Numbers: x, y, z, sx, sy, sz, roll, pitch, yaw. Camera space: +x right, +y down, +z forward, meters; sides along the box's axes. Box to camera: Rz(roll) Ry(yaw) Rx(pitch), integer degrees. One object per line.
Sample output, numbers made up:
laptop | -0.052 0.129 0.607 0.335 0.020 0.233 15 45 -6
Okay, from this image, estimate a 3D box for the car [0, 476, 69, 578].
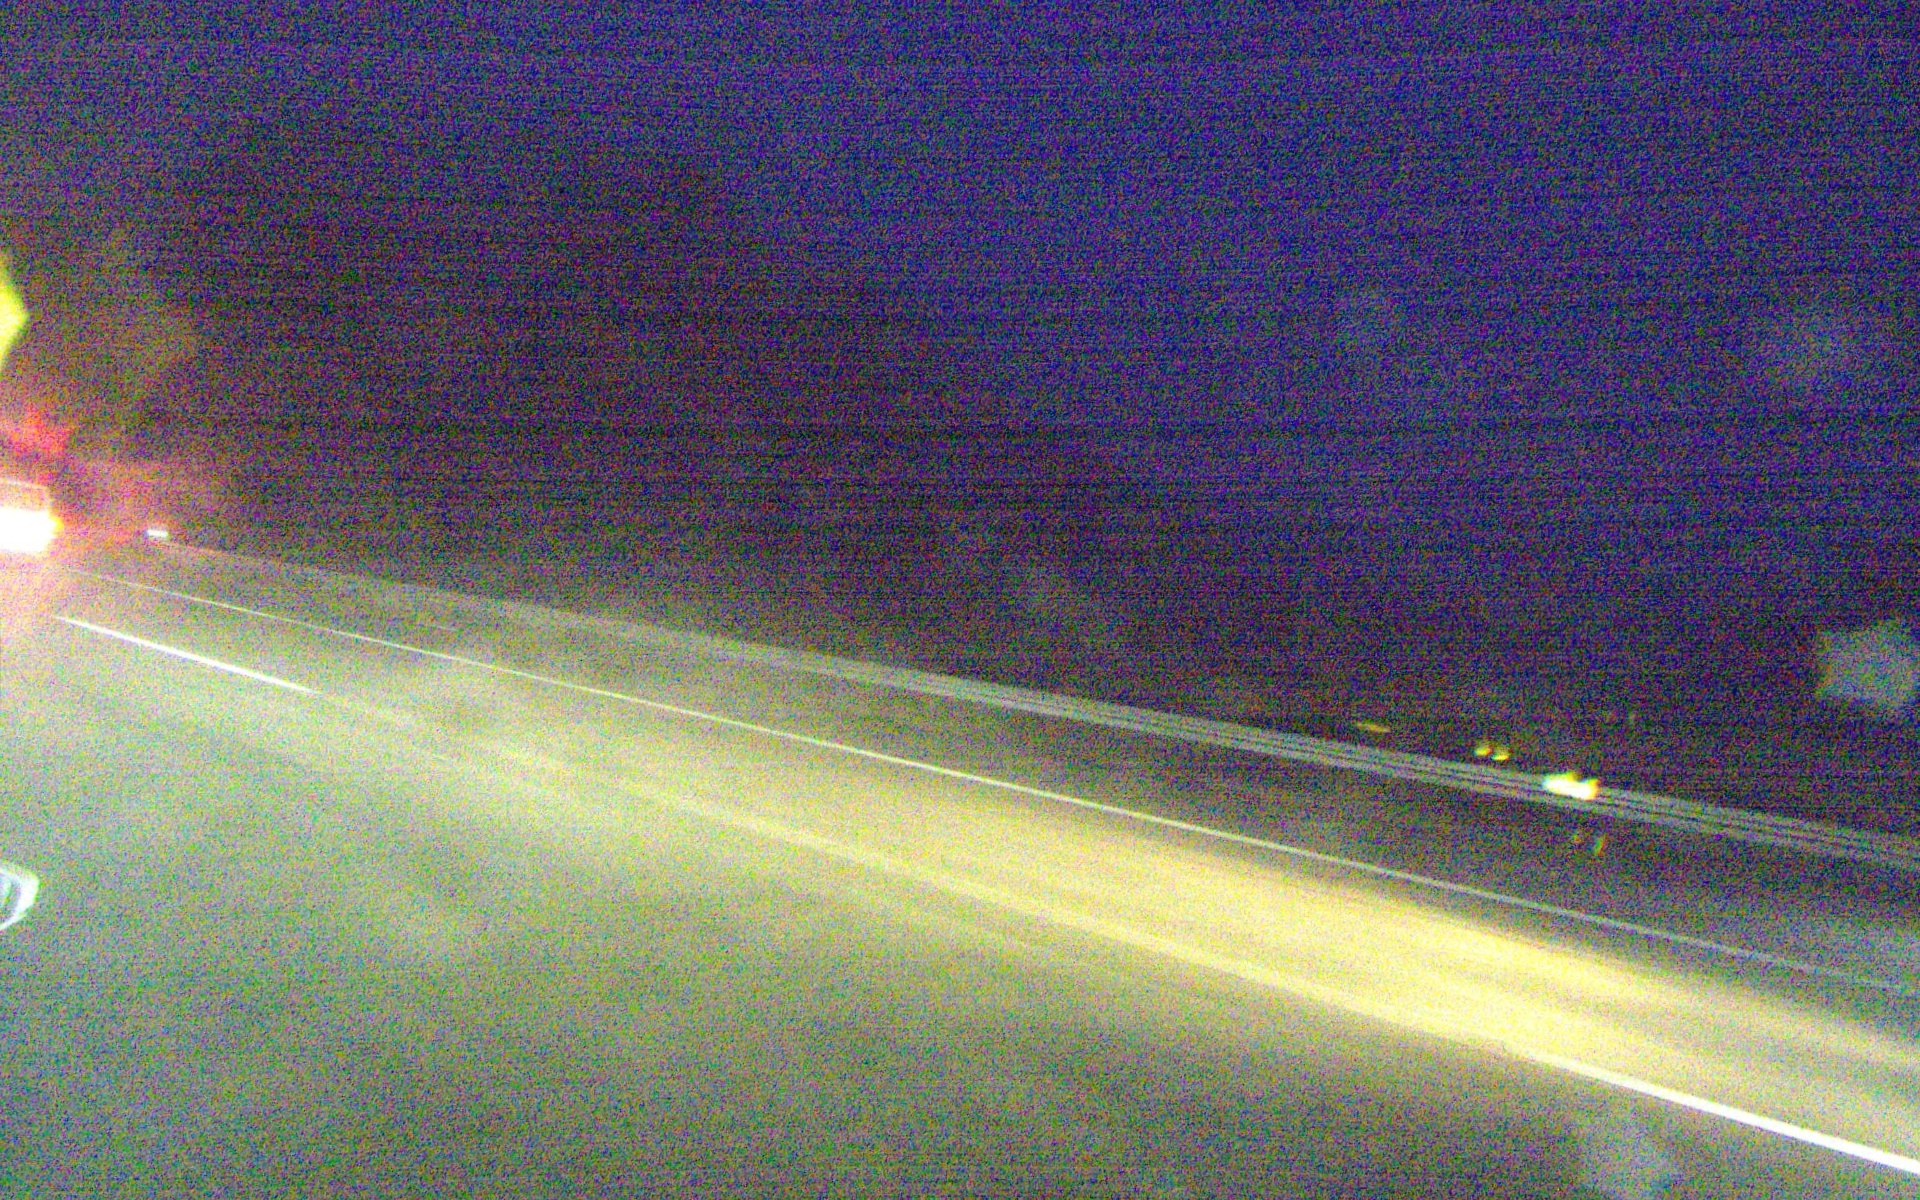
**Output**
car | -21.671 -1.794 21.853 5.318 1.999 2.047 7 1 33
